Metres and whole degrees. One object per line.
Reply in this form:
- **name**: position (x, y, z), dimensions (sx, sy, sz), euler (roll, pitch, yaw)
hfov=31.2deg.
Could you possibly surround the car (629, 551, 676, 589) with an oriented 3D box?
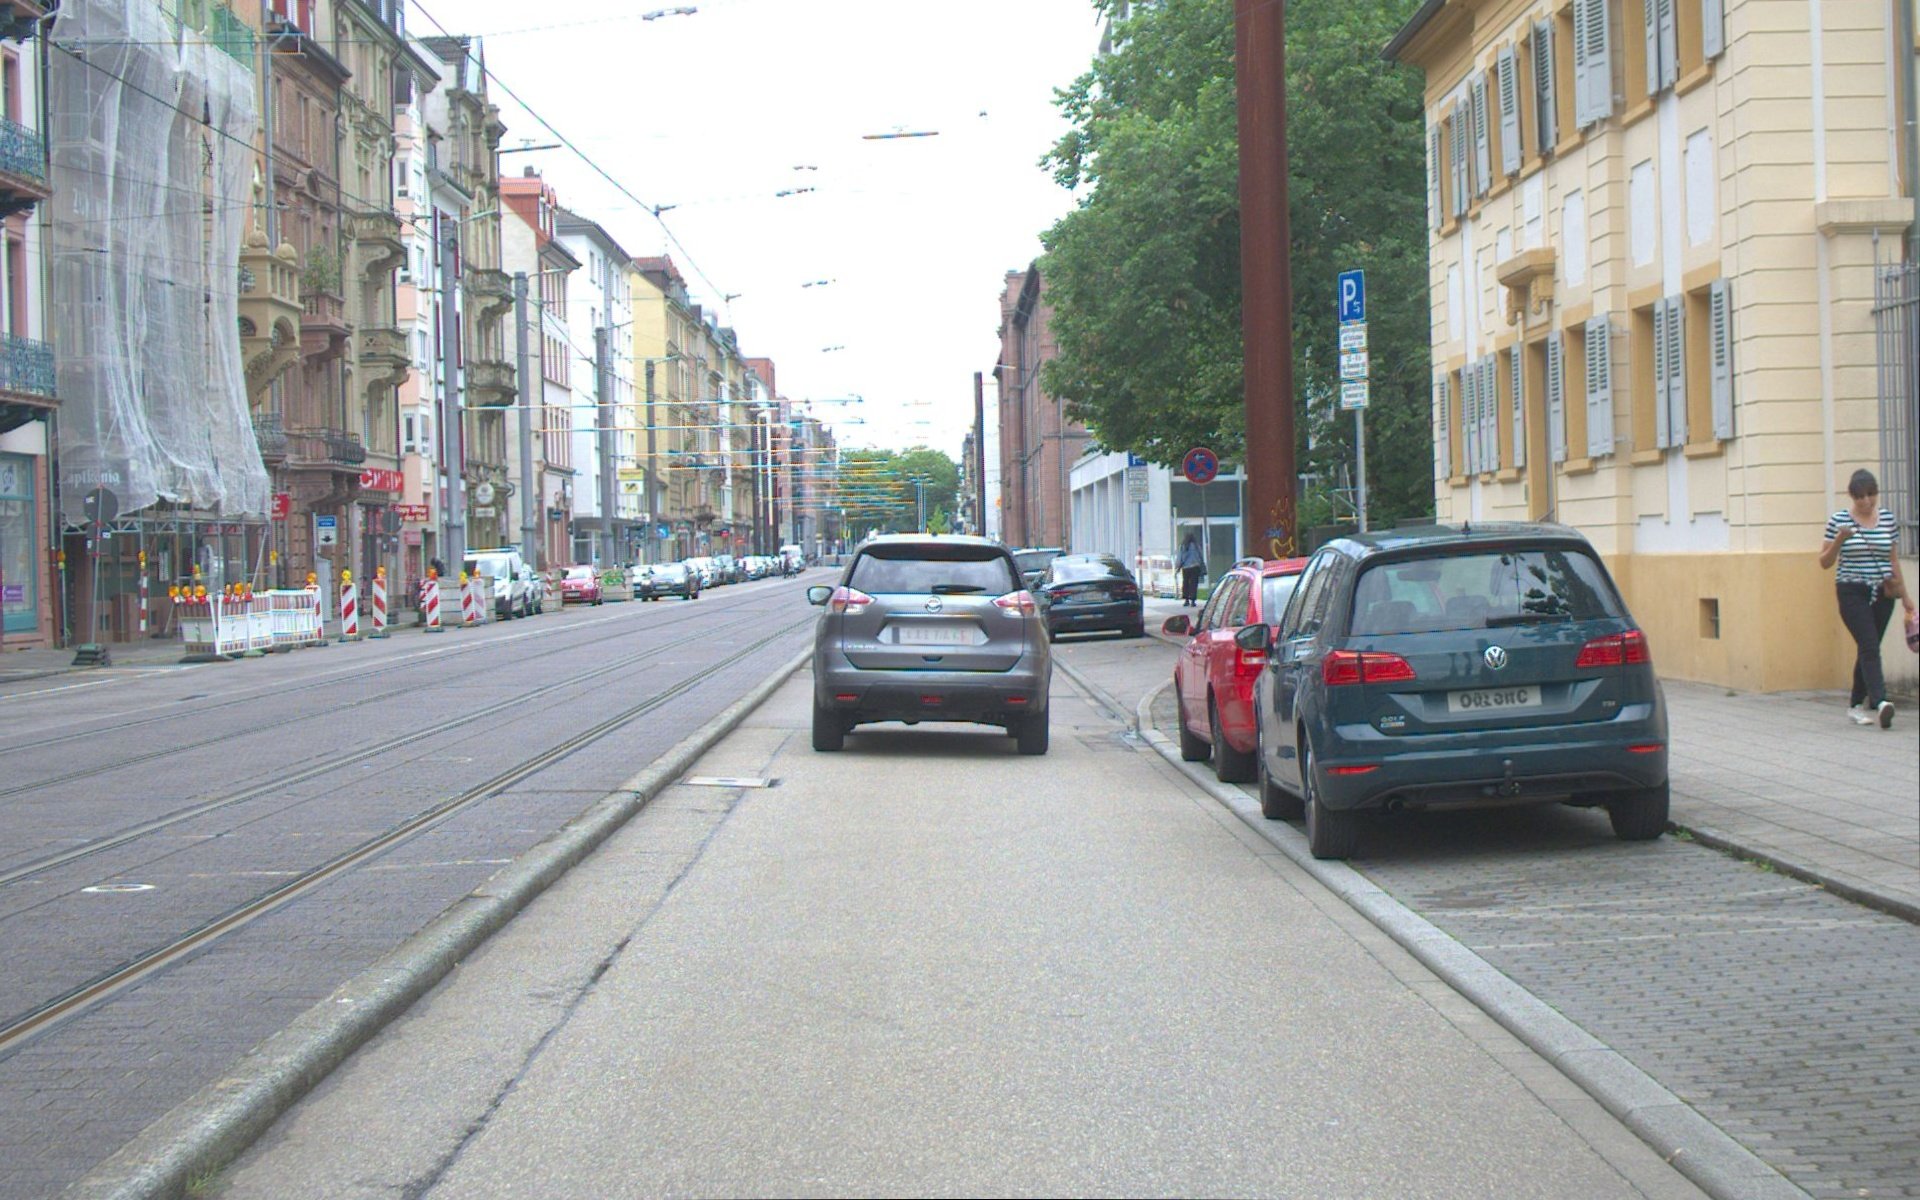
- **car**: position (-13.696, -1.321, 153.325), dimensions (1.993, 1.629, 4.000), euler (-1, 0, -4)

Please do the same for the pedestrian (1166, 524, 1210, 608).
- **pedestrian**: position (5.175, -0.773, 78.069), dimensions (0.910, 1.880, 0.846), euler (-1, 0, -1)

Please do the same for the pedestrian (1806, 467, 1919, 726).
- **pedestrian**: position (6.099, -0.032, 22.962), dimensions (0.642, 1.682, 0.891), euler (-1, 1, -1)

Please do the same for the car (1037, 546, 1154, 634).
- **car**: position (2.300, -0.200, 59.202), dimensions (1.776, 1.415, 4.135), euler (-1, 1, -1)

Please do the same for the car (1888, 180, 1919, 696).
- **car**: position (2.601, 0.337, 3.359), dimensions (1.851, 2.108, 4.985), euler (-4, 1, -1)

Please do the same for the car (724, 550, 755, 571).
- **car**: position (-14.481, -2.595, 225.976), dimensions (1.993, 1.262, 4.000), euler (-1, 0, -4)

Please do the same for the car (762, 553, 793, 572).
- **car**: position (-12.879, -2.614, 242.291), dimensions (1.993, 1.262, 4.000), euler (-1, 0, 0)

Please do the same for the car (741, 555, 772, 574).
- **car**: position (-14.783, -2.580, 249.571), dimensions (1.993, 1.262, 4.000), euler (-1, 0, 0)

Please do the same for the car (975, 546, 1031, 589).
- **car**: position (1.458, -1.125, 117.593), dimensions (1.776, 1.415, 4.135), euler (-1, 1, -1)

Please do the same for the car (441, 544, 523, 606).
- **car**: position (-13.525, -0.688, 97.476), dimensions (1.993, 1.700, 4.000), euler (-1, 0, -4)

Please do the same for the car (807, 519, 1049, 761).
- **car**: position (-0.262, 0.266, 27.409), dimensions (1.749, 1.750, 3.924), euler (1, 1, -1)

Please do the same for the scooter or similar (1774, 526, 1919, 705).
- **scooter or similar**: position (6.568, 0.108, 25.122), dimensions (0.747, 1.246, 1.919), euler (-1, 0, -1)

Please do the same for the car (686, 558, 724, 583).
- **car**: position (-13.517, -1.553, 182.432), dimensions (1.993, 1.262, 4.000), euler (-1, 0, -4)

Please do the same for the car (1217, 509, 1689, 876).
- **car**: position (2.438, 0.401, 17.939), dimensions (1.749, 1.590, 3.924), euler (-4, 1, -1)

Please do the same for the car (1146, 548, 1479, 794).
- **car**: position (2.333, 0.419, 23.673), dimensions (1.749, 1.436, 3.924), euler (-4, 1, -1)

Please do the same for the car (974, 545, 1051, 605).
- **car**: position (1.278, -0.643, 85.091), dimensions (1.776, 1.415, 4.135), euler (-1, 1, -1)

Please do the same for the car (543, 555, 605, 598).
- **car**: position (-13.791, -0.819, 122.942), dimensions (1.993, 1.459, 4.000), euler (-1, 0, -4)

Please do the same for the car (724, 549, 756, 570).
- **car**: position (-14.171, -2.592, 221.597), dimensions (1.993, 1.262, 4.000), euler (-1, 0, -4)

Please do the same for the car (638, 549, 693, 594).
- **car**: position (-11.242, -1.085, 131.506), dimensions (1.993, 1.629, 4.000), euler (-1, 0, -4)
